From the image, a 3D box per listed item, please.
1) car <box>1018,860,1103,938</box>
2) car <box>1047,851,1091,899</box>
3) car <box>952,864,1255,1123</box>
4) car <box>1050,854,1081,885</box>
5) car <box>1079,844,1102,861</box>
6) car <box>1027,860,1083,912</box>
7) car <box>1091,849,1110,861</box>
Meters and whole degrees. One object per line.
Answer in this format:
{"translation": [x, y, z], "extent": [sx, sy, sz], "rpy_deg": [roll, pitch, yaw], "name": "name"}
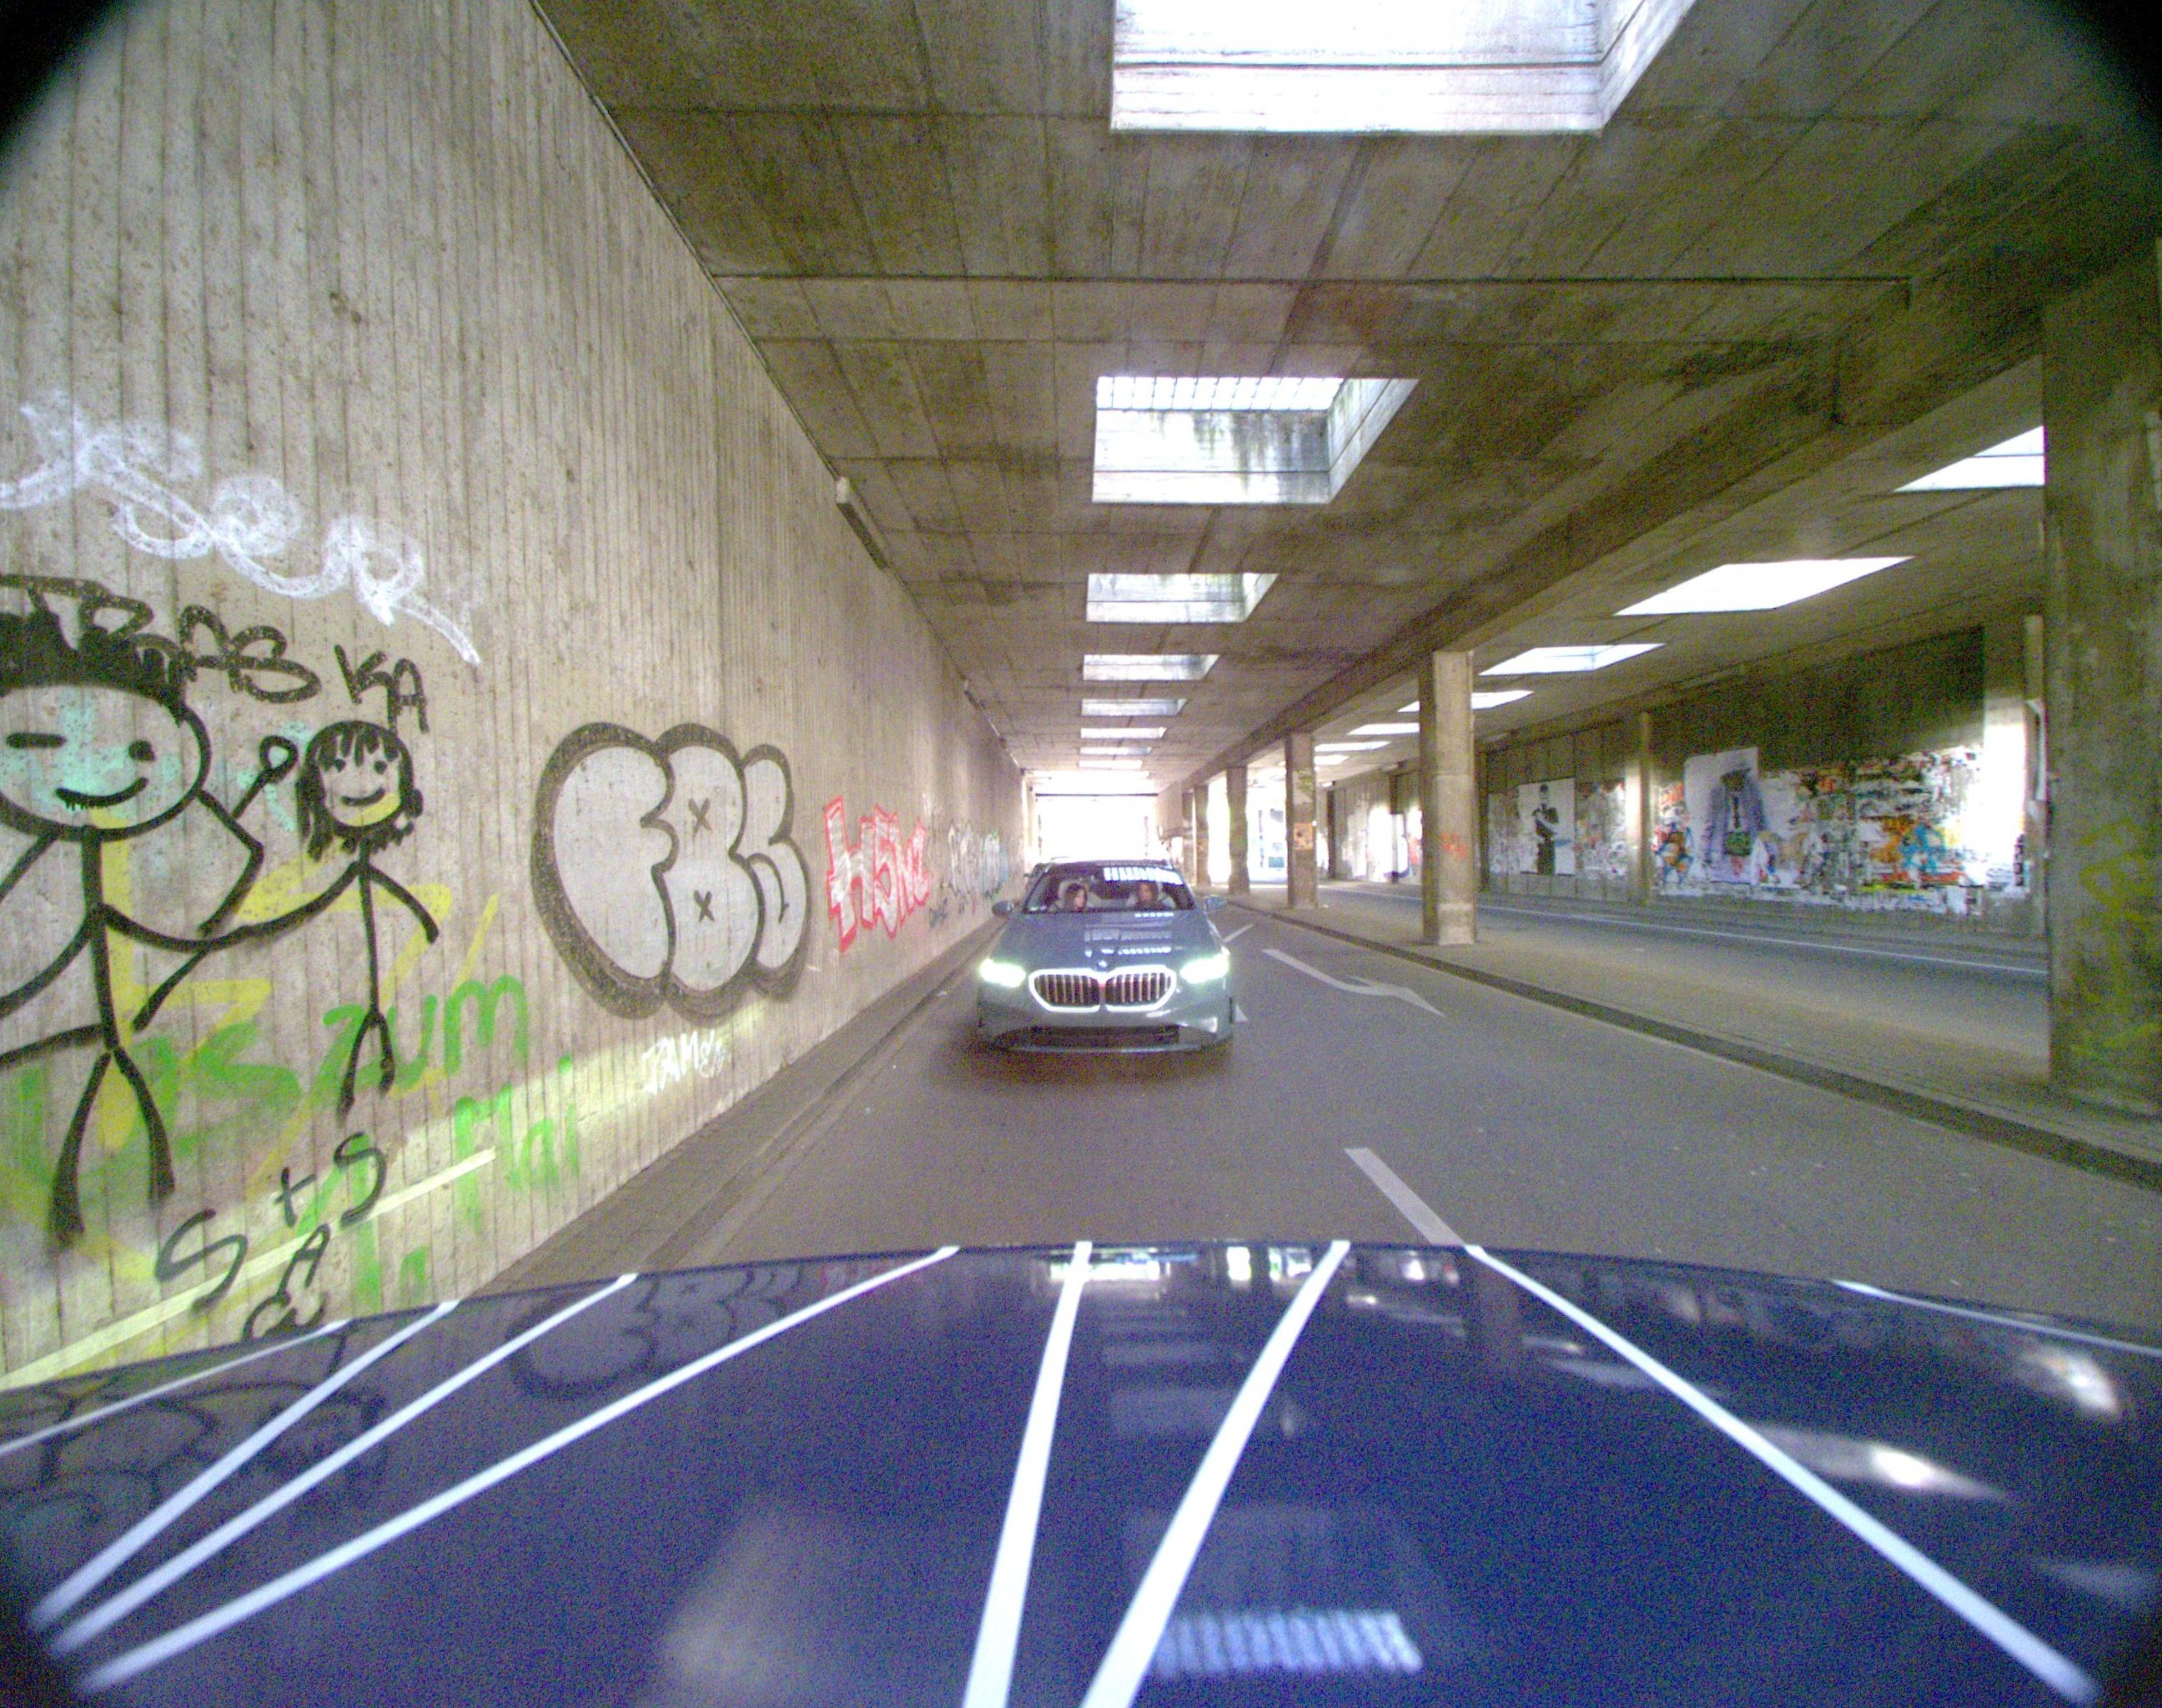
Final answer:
{"translation": [-0.425, 0.923, 17.296], "extent": [1.679, 1.516, 3.969], "rpy_deg": [-2, 0, 0], "name": "car"}
{"translation": [-0.462, 0.774, 29.929], "extent": [1.592, 1.711, 3.694], "rpy_deg": [-2, 0, 0], "name": "car"}
{"translation": [0.128, 0.908, 7.287], "extent": [1.861, 1.516, 5.042], "rpy_deg": [-2, 0, 0], "name": "car"}
{"translation": [-0.806, 0.808, 41.256], "extent": [1.592, 1.562, 3.694], "rpy_deg": [-2, 0, 0], "name": "car"}
{"translation": [1.281, -0.190, 103.668], "extent": [2.161, 2.150, 4.785], "rpy_deg": [-2, 0, -12], "name": "car"}
{"translation": [-0.761, 0.951, 23.922], "extent": [1.592, 1.432, 3.806], "rpy_deg": [-2, 0, 0], "name": "car"}
{"translation": [2.478, 0.140, 97.976], "extent": [1.741, 1.519, 3.786], "rpy_deg": [-2, 0, -9], "name": "car"}
